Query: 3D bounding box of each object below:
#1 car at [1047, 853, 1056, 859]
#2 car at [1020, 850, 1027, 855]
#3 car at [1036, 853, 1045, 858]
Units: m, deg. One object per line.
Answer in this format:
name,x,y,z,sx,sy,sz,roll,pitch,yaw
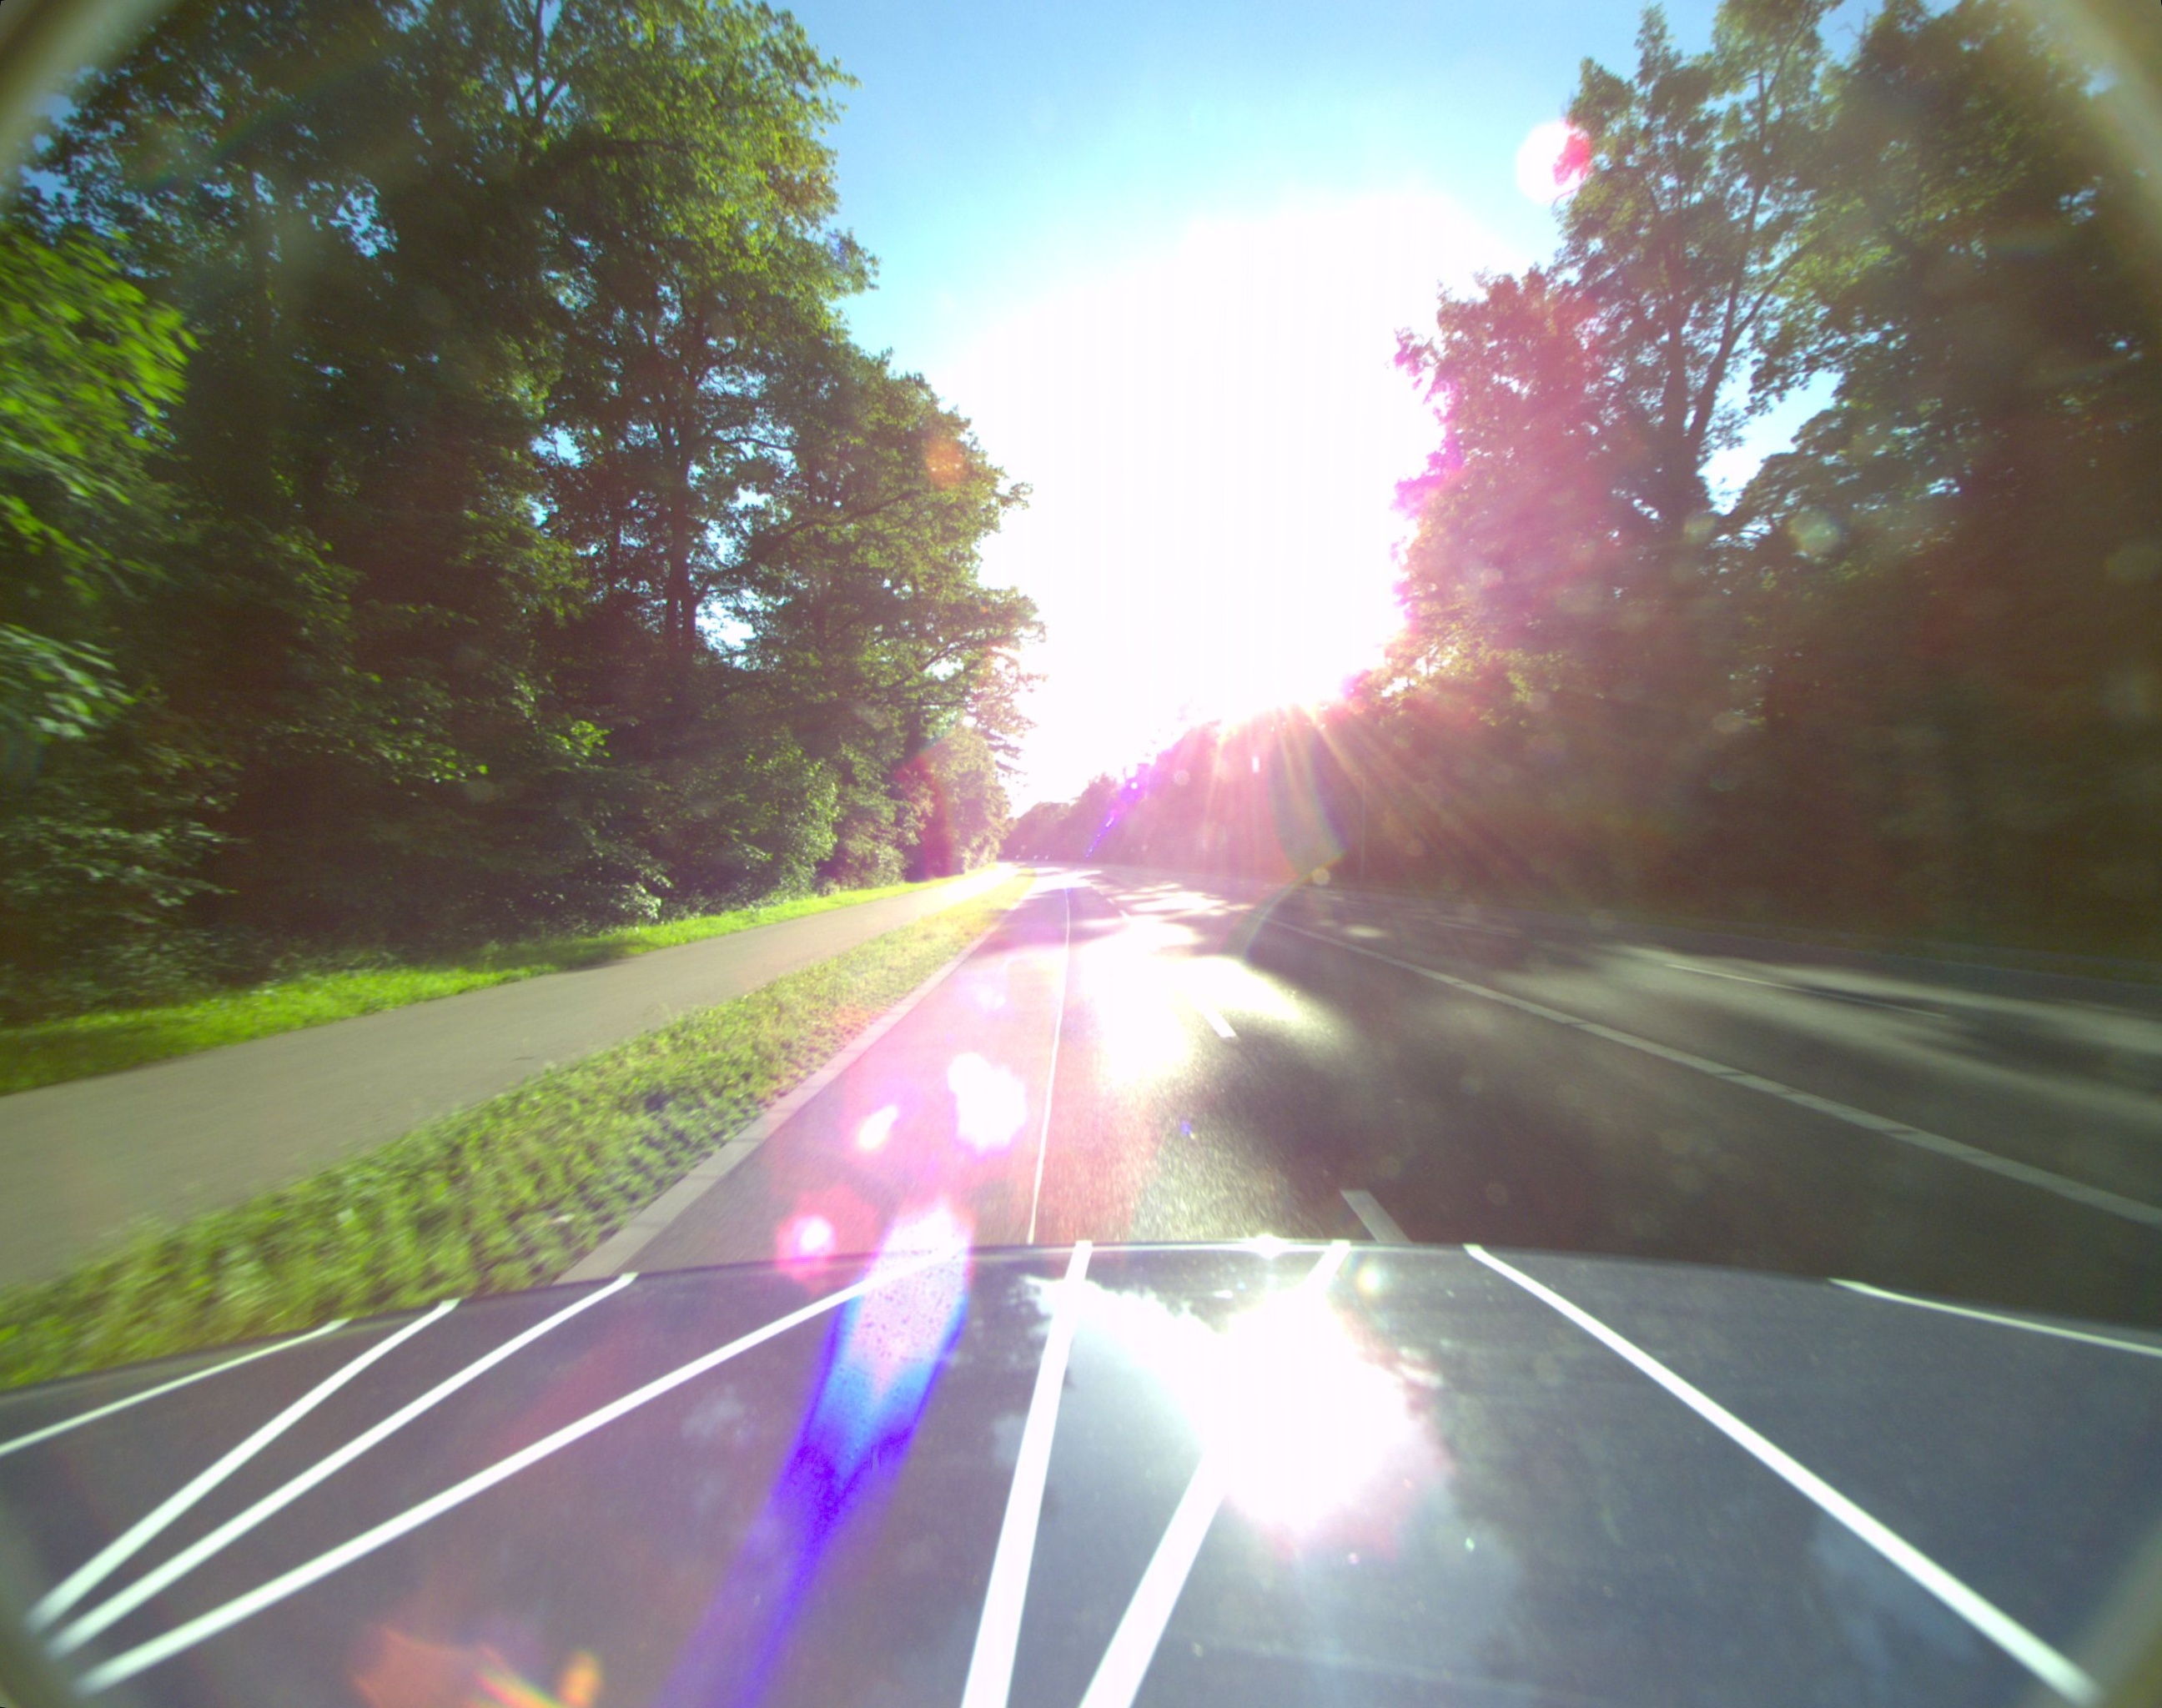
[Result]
car,-8.011,0.550,203.346,1.663,1.472,4.168,-1,0,-13
car,-19.688,-0.410,260.800,1.903,1.601,4.444,0,0,-13
car,-11.815,0.397,222.561,1.745,1.449,3.994,-3,1,-13
